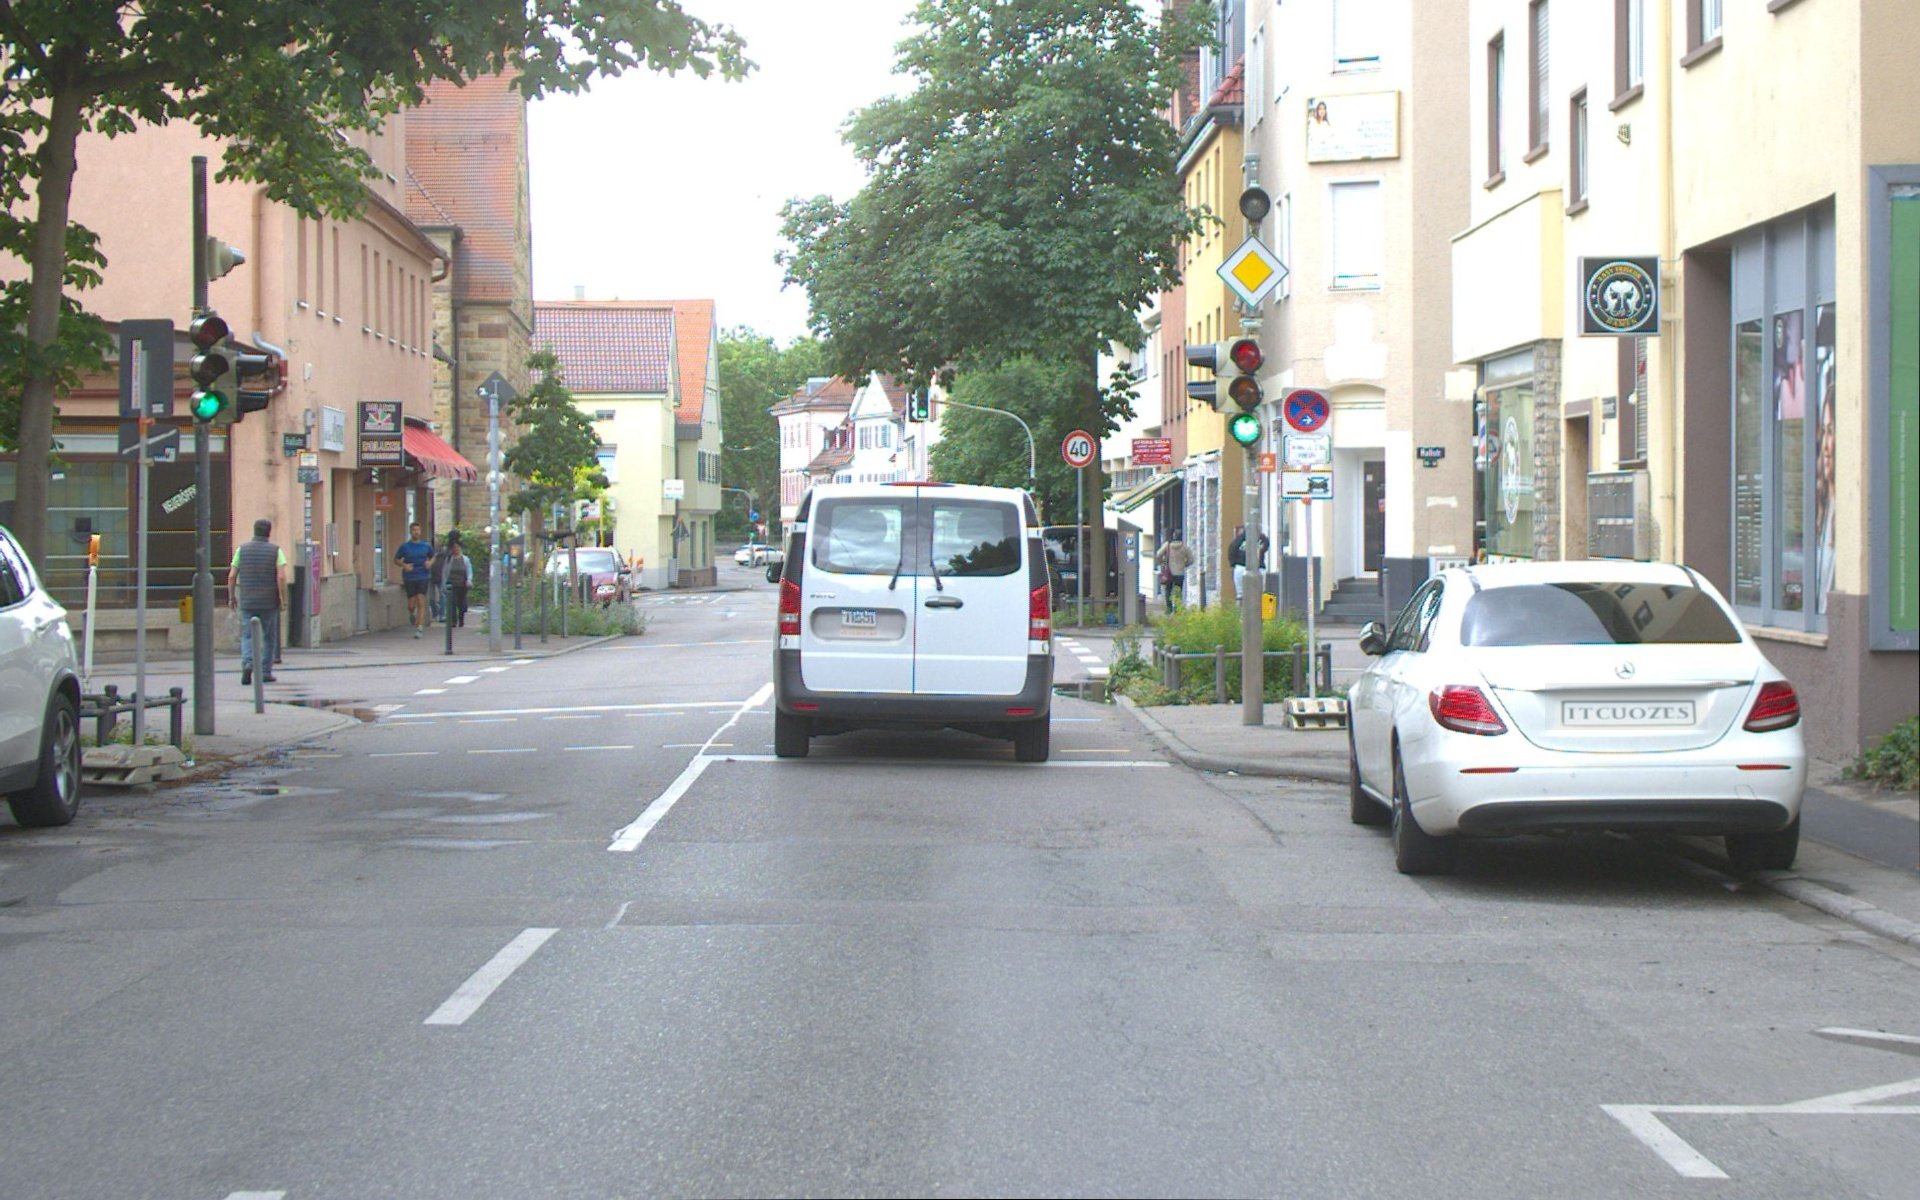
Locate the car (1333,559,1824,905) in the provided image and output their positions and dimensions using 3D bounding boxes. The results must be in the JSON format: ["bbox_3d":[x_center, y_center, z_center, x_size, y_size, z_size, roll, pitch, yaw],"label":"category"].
[{"bbox_3d":[2.931,0.541,17.259,1.767,1.461,4.783,0,1,2],"label":"car"}]

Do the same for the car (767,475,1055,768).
[{"bbox_3d":[-0.356,0.111,24.387,1.872,1.905,4.000,0,1,-1],"label":"car"}]

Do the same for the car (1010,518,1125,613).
[{"bbox_3d":[2.028,-0.656,66.127,1.819,1.775,4.404,0,0,-4],"label":"car"}]

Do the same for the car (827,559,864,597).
[{"bbox_3d":[-6.239,-1.200,186.808,1.934,2.007,4.000,1,0,-3],"label":"car"}]

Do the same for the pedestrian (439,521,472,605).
[{"bbox_3d":[-11.258,-0.835,76.753,0.571,1.842,0.697,3,1,-1],"label":"pedestrian"}]

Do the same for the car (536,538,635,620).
[{"bbox_3d":[-7.735,-0.456,71.217,1.702,1.568,4.451,-2,1,-3],"label":"car"}]

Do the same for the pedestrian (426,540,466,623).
[{"bbox_3d":[-10.196,-0.376,68.177,0.730,1.623,0.759,0,1,-11],"label":"pedestrian"}]

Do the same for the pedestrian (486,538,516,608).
[{"bbox_3d":[-10.304,-0.604,77.154,0.571,1.549,0.697,1,1,-1],"label":"pedestrian"}]

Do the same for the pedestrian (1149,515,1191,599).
[{"bbox_3d":[4.156,-0.853,68.047,0.701,1.643,0.889,-1,1,-2],"label":"pedestrian"}]

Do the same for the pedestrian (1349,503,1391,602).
[{"bbox_3d":[6.507,-0.748,54.551,0.567,1.555,0.521,1,0,-1],"label":"pedestrian"}]

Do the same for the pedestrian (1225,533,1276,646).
[{"bbox_3d":[4.280,-0.164,50.734,0.614,1.647,0.983,0,1,-3],"label":"pedestrian"}]

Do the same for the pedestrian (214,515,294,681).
[{"bbox_3d":[-7.504,-0.030,36.563,0.738,1.748,0.983,0,1,-6],"label":"pedestrian"}]

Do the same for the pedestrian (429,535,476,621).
[{"bbox_3d":[-9.126,-0.407,61.879,0.738,1.529,0.983,0,1,-3],"label":"pedestrian"}]

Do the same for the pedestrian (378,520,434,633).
[{"bbox_3d":[-8.483,-0.367,52.692,0.738,1.712,1.157,0,1,-4],"label":"pedestrian"}]

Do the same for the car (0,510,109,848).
[{"bbox_3d":[-5.806,0.432,17.206,1.891,1.706,4.741,-2,1,0],"label":"car"}]
